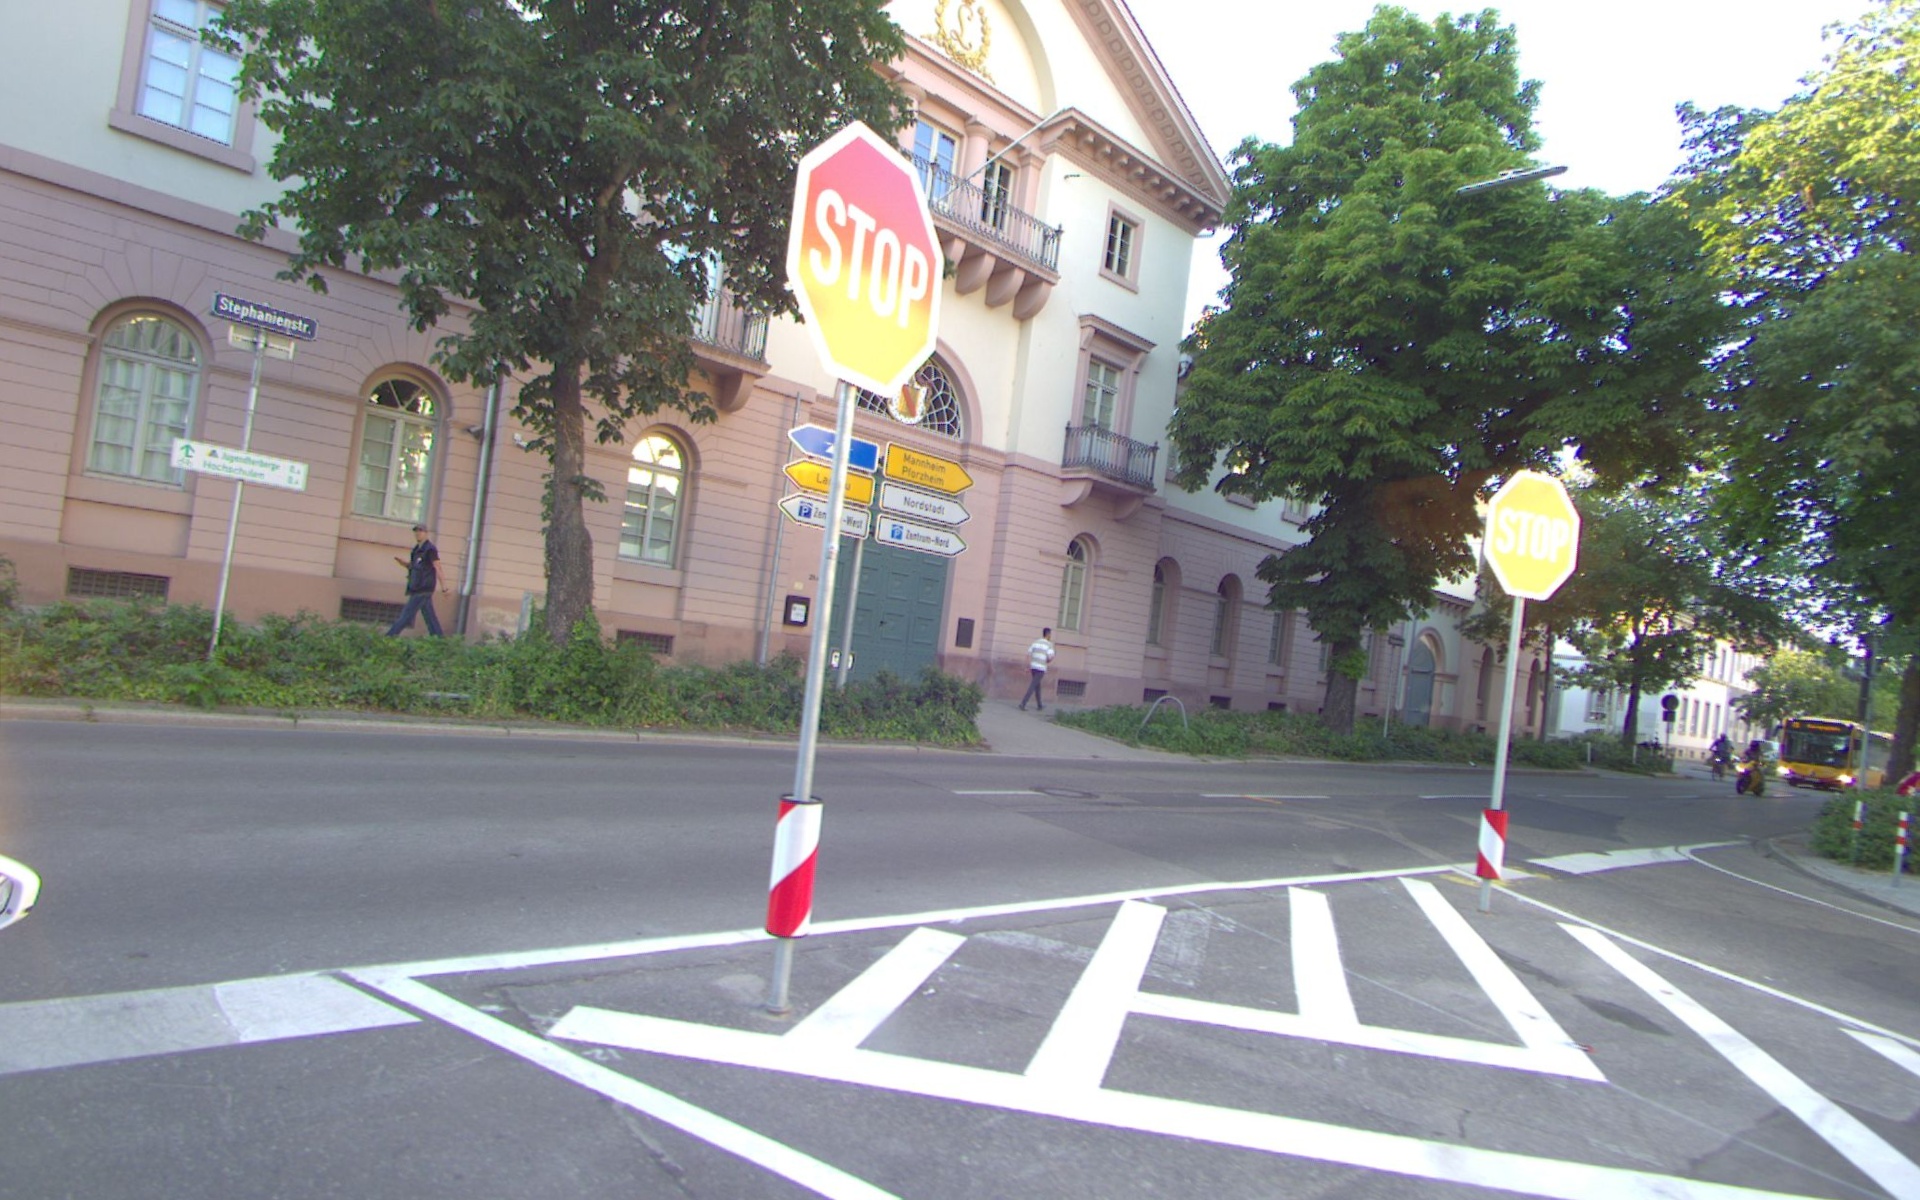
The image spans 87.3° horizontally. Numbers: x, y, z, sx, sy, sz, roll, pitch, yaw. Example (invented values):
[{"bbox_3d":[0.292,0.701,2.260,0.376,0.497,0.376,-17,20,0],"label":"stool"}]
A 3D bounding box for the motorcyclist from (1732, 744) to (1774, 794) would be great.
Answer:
[{"bbox_3d":[24.849,5.299,31.521,0.692,1.436,0.787,8,-3,-34],"label":"motorcyclist"}]

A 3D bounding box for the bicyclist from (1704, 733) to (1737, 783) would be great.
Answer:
[{"bbox_3d":[30.191,6.277,39.933,0.821,1.859,0.775,8,-3,-40],"label":"bicyclist"}]

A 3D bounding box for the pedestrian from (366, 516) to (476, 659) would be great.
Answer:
[{"bbox_3d":[-7.648,-0.170,14.273,1.074,1.860,0.793,8,-1,-37],"label":"pedestrian"}]

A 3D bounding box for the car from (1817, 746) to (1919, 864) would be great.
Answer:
[{"bbox_3d":[16.168,3.450,15.698,1.817,1.634,3.954,9,-2,-41],"label":"car"}]

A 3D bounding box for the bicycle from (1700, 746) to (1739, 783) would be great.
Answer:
[{"bbox_3d":[30.143,6.534,39.907,2.064,1.344,0.775,9,-4,-41],"label":"bicycle"}]

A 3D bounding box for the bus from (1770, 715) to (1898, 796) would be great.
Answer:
[{"bbox_3d":[40.873,7.347,46.828,12.000,3.033,2.684,10,-4,-40],"label":"bus"}]

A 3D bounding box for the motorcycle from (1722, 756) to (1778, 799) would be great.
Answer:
[{"bbox_3d":[24.686,5.541,31.427,1.949,1.173,0.786,9,-3,-35],"label":"motorcycle"}]

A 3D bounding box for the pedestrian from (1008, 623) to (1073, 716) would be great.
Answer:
[{"bbox_3d":[1.742,1.496,21.648,0.790,1.853,0.925,6,-1,42],"label":"pedestrian"}]

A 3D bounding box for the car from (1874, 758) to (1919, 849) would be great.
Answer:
[{"bbox_3d":[19.926,4.133,18.806,1.713,1.633,3.954,9,-2,-41],"label":"car"}]
